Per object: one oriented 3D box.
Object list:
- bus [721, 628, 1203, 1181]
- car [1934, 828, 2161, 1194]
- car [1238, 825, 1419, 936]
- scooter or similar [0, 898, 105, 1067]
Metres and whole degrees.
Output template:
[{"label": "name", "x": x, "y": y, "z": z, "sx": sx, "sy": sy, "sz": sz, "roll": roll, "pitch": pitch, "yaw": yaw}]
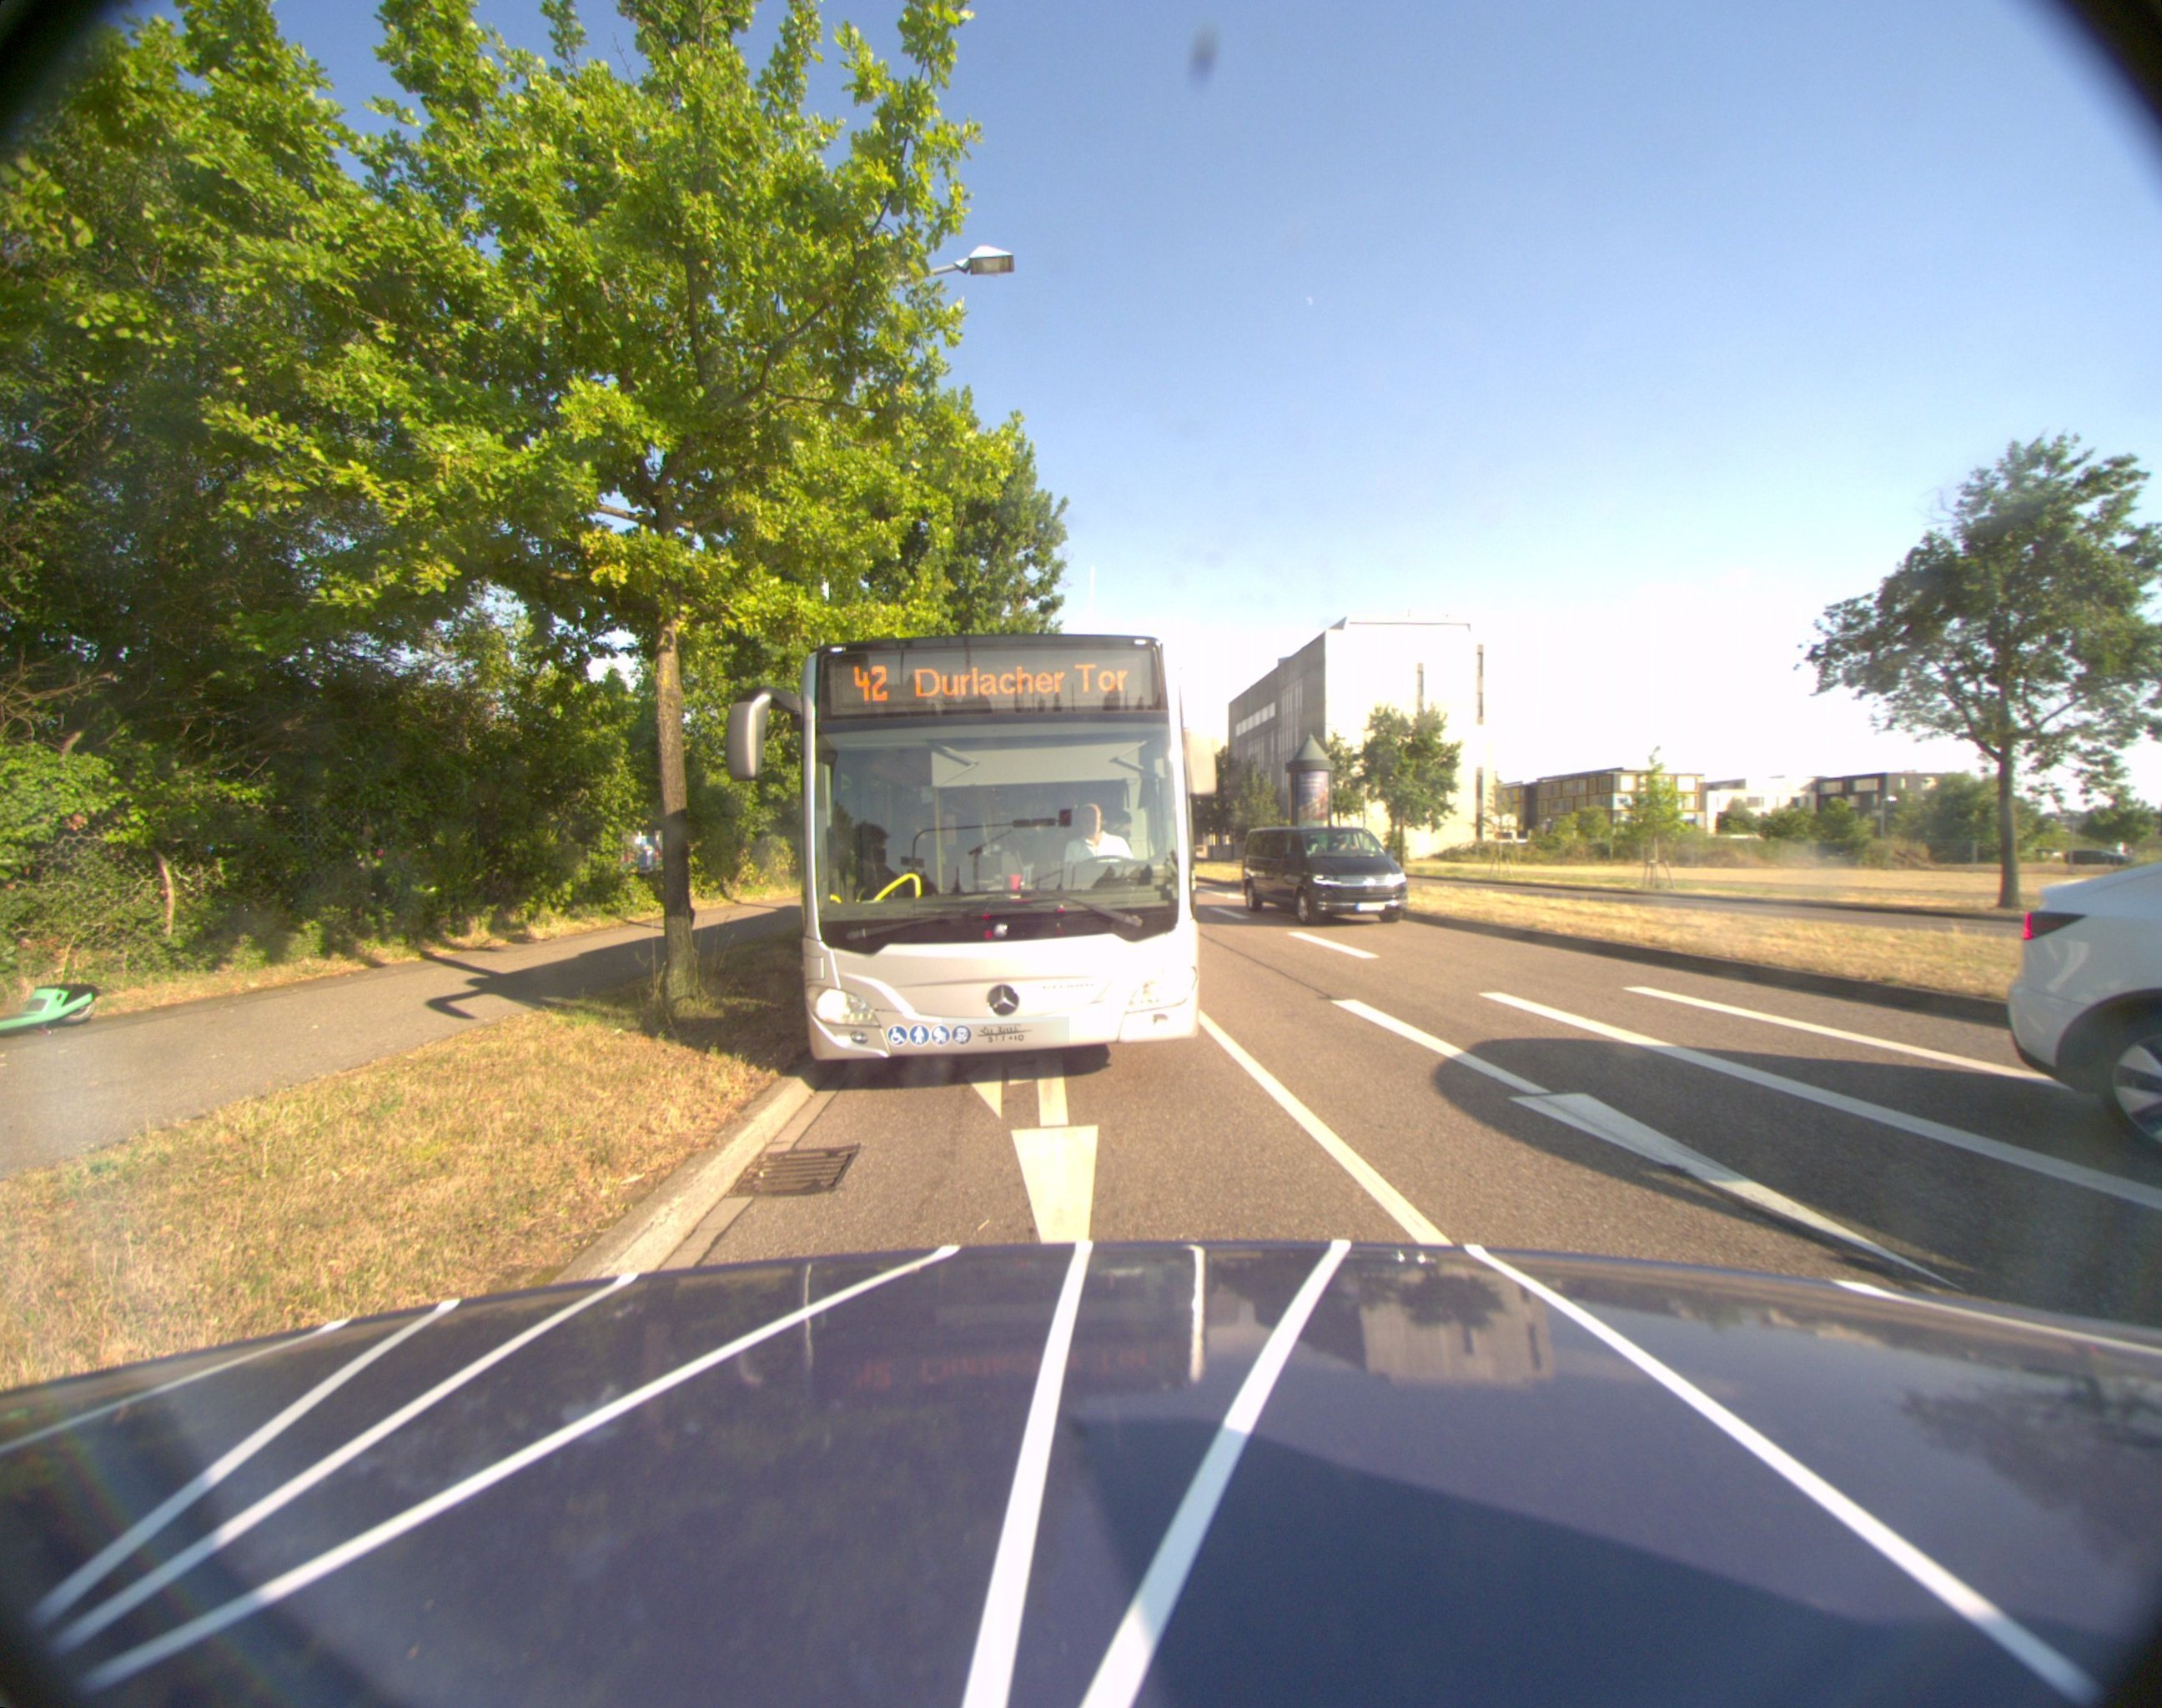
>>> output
[{"label": "bus", "x": -0.893, "y": 0.240, "z": 10.102, "sx": 2.595, "sy": 3.025, "sz": 11.715, "roll": -1, "pitch": 0, "yaw": -3}, {"label": "car", "x": 5.675, "y": 0.674, "z": 1.868, "sx": 1.740, "sy": 1.590, "sz": 4.675, "roll": -2, "pitch": 0, "yaw": -4}, {"label": "car", "x": 4.964, "y": 0.447, "z": 16.120, "sx": 1.861, "sy": 1.921, "sz": 5.010, "roll": -2, "pitch": 1, "yaw": -4}, {"label": "scooter or similar", "x": -7.539, "y": 0.901, "z": 5.208, "sx": 0.249, "sy": 1.120, "sz": 1.095, "roll": 2, "pitch": 1, "yaw": 1}]
